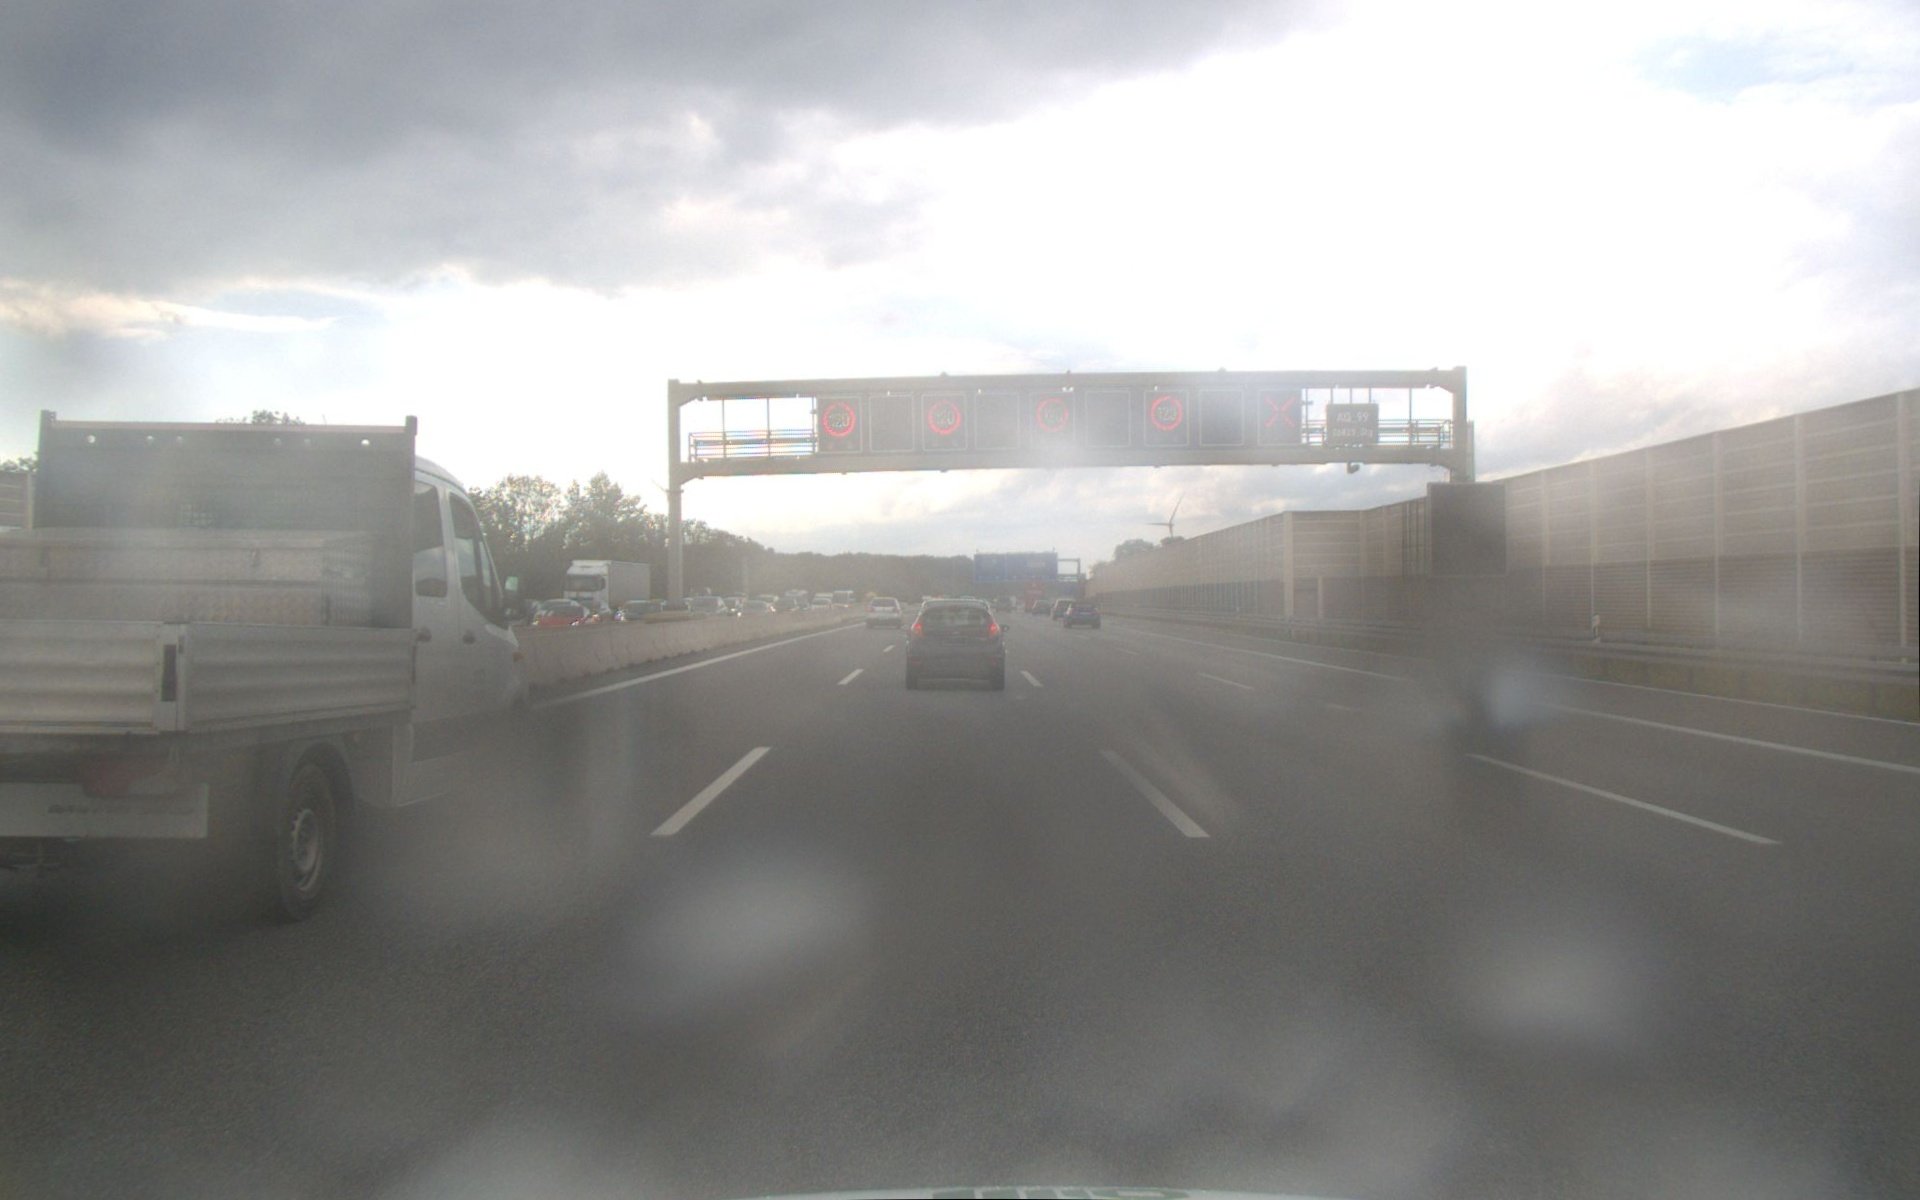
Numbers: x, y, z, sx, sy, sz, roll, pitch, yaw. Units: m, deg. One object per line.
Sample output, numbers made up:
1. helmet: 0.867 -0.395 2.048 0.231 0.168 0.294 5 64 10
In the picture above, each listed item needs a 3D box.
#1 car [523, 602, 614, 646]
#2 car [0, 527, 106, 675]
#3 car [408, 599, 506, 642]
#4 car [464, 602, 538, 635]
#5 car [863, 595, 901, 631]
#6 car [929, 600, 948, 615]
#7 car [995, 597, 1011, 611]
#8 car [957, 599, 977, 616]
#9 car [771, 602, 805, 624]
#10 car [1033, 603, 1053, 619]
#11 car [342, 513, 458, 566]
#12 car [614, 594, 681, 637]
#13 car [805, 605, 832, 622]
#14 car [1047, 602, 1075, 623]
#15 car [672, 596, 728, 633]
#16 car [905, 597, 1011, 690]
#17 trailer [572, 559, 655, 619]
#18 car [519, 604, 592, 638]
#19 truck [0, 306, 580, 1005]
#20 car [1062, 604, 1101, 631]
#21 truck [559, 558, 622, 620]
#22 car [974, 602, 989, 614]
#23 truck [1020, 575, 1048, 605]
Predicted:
1. car: -13.955 0.833 59.223 2.018 1.517 4.997 0 0 1
2. car: -17.923 0.014 28.817 2.334 2.594 7.087 0 0 1
3. car: -18.255 0.721 60.272 2.018 1.517 4.997 0 0 1
4. car: -21.438 0.858 77.486 2.018 1.517 4.997 0 0 1
5. car: -3.791 0.621 81.039 1.682 1.652 4.278 0 1 0
6. car: -2.383 0.833 181.808 1.927 1.588 4.433 0 -1 1
7. car: 5.316 0.504 206.106 1.927 1.588 4.433 0 -1 0
8. car: 0.693 0.704 160.322 1.927 1.588 4.433 0 -1 1
9. car: -13.272 1.006 128.005 2.018 1.674 5.380 0 0 1
10. car: 8.348 1.118 166.886 1.844 1.588 4.433 0 -1 1
11. car: -18.258 -1.949 54.172 2.018 1.517 4.997 0 0 1
12. car: -14.050 0.686 74.693 2.018 1.913 4.997 0 0 1
13. car: -13.367 1.249 156.671 2.018 1.561 5.470 0 0 1
14. car: 7.697 0.985 126.221 1.844 1.569 4.433 0 -1 1
15. car: -14.210 0.780 90.792 2.018 1.913 6.328 0 0 1
16. car: -0.071 0.690 28.403 1.682 1.441 4.277 0 1 -1
17. trailer: -24.955 -0.774 120.021 2.871 4.102 14.453 0 0 1
18. car: -18.393 0.931 75.448 2.018 1.517 4.997 0 0 1
19. truck: -3.993 0.167 9.422 2.260 2.482 7.145 1 0 -2
20. car: 6.582 0.957 89.902 1.909 1.443 4.233 0 -1 1
21. truck: -25.010 -0.756 112.111 2.911 4.105 5.726 0 0 0
22. car: 2.945 1.052 225.303 1.928 1.588 4.432 0 -1 -1
23. truck: 9.519 -1.258 214.516 3.087 3.664 12.700 1 0 1
